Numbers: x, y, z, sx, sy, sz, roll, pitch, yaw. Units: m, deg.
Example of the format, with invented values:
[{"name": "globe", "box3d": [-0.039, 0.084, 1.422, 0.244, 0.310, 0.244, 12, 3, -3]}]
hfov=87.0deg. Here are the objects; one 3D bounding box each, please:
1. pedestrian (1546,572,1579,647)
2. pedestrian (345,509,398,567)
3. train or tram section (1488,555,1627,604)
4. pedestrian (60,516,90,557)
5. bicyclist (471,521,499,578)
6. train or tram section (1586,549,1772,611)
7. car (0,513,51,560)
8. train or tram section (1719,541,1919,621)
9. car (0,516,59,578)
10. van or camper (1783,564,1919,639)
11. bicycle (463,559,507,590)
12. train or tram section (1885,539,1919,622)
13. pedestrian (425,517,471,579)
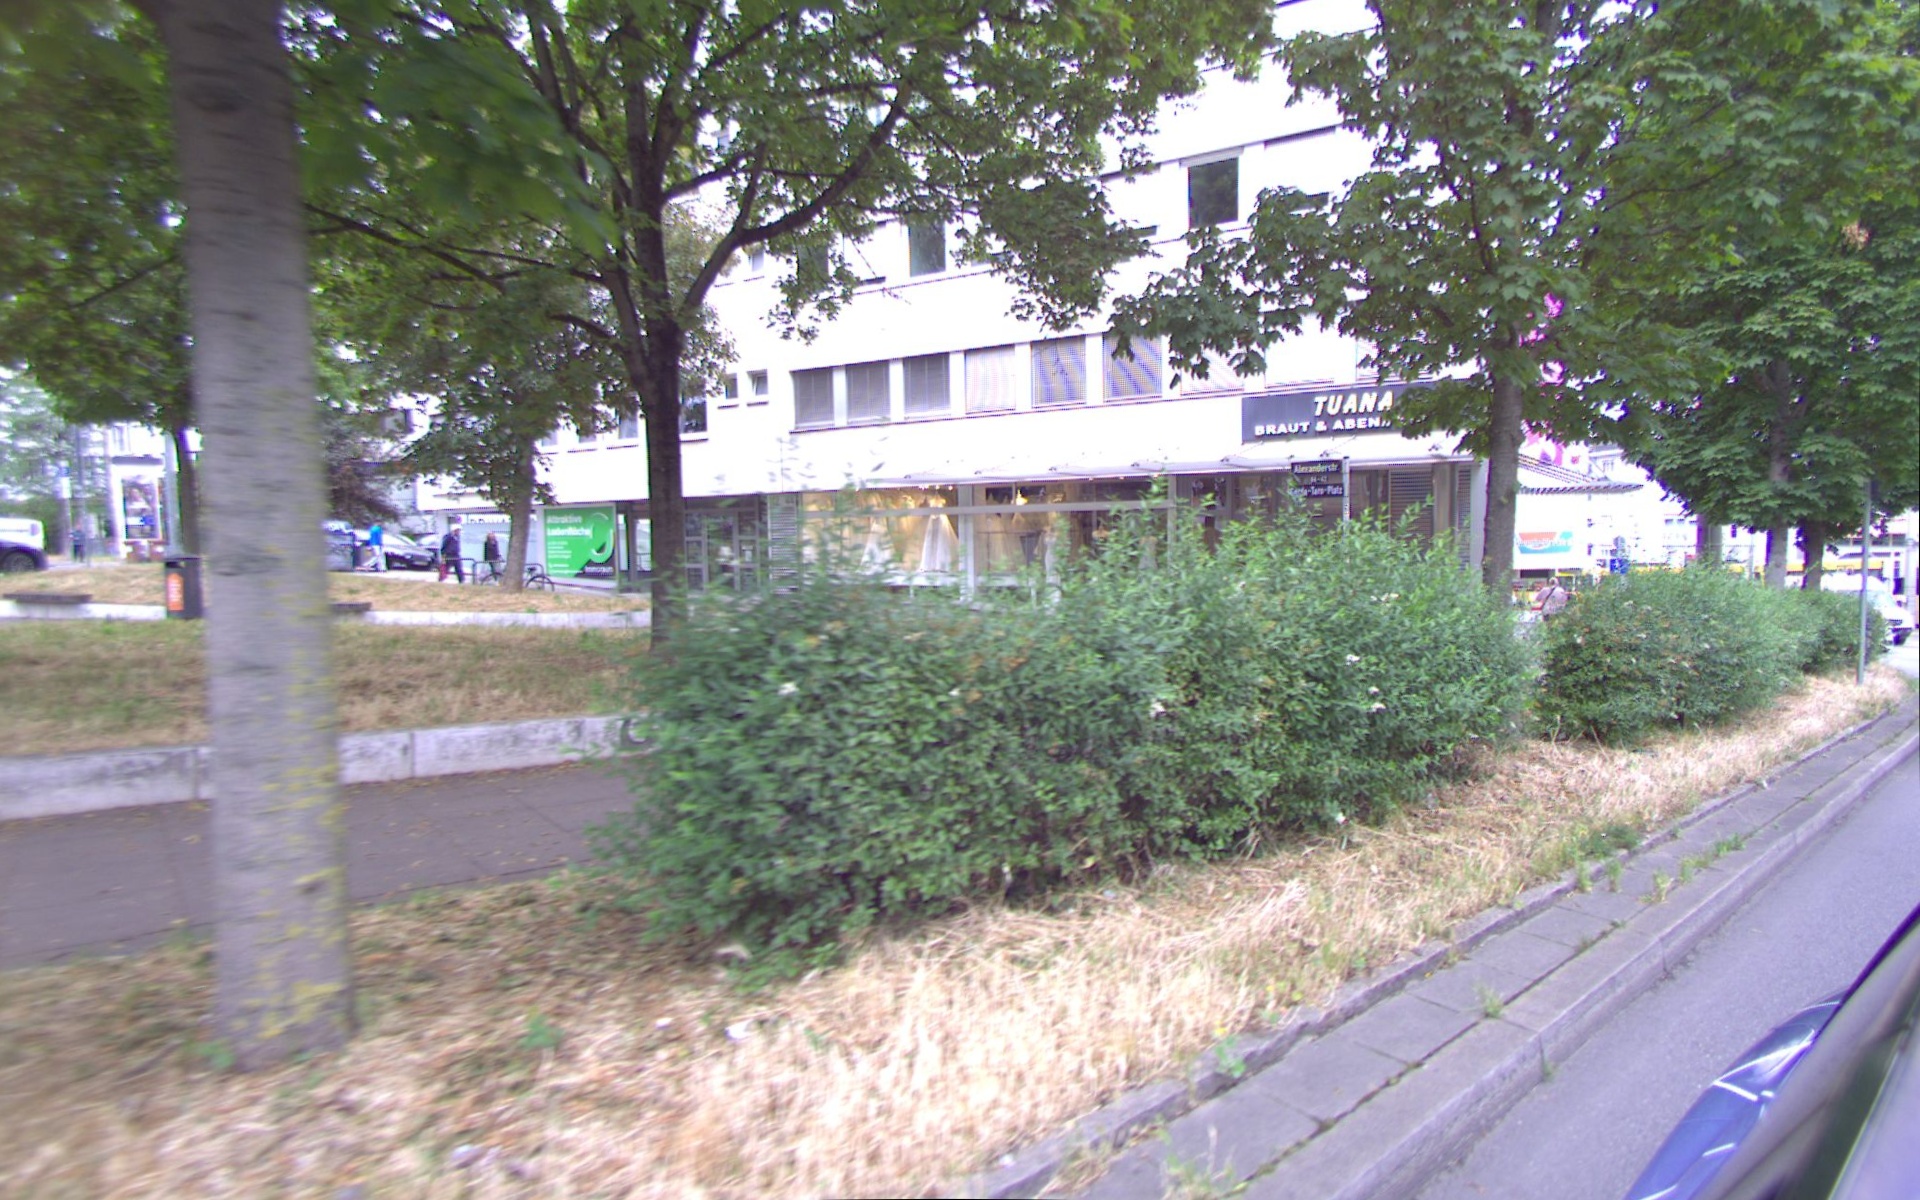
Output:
[{"name": "pedestrian", "box3d": [14.860, 0.236, 24.978, 0.669, 1.817, 0.602, 0, 0, 29]}, {"name": "pedestrian", "box3d": [-19.320, -2.018, 33.254, 1.015, 1.845, 1.151, 1, 1, 24]}, {"name": "train or tram section", "box3d": [48.200, -1.610, 82.460, 2.837, 3.484, 14.228, -3, 1, 1]}, {"name": "pedestrian", "box3d": [-39.350, -2.795, 44.983, 0.789, 1.770, 0.725, -2, 0, 29]}, {"name": "bicyclist", "box3d": [-13.725, -1.461, 29.227, 0.593, 1.622, 0.506, 2, 1, 38]}, {"name": "train or tram section", "box3d": [47.802, -1.432, 68.195, 2.878, 3.602, 14.224, -2, 2, 3]}, {"name": "car", "box3d": [-39.428, -2.592, 41.743, 3.972, 1.705, 1.967, -2, 1, 35]}, {"name": "train or tram section", "box3d": [46.194, -1.083, 54.139, 2.845, 3.709, 14.189, -2, 1, 10]}, {"name": "car", "box3d": [-25.692, -1.332, 25.496, 1.733, 1.517, 4.119, -2, 1, 23]}, {"name": "van or camper", "box3d": [34.887, -0.021, 39.130, 2.177, 2.590, 6.347, -2, 1, 14]}, {"name": "bicycle", "box3d": [-13.718, -0.740, 29.226, 1.534, 0.869, 0.513, 2, 1, 38]}, {"name": "train or tram section", "box3d": [42.652, -0.787, 40.415, 2.853, 3.709, 14.147, -1, 1, 18]}, {"name": "pedestrian", "box3d": [-14.476, -1.466, 28.602, 0.876, 1.722, 0.865, 2, 1, 38]}]
